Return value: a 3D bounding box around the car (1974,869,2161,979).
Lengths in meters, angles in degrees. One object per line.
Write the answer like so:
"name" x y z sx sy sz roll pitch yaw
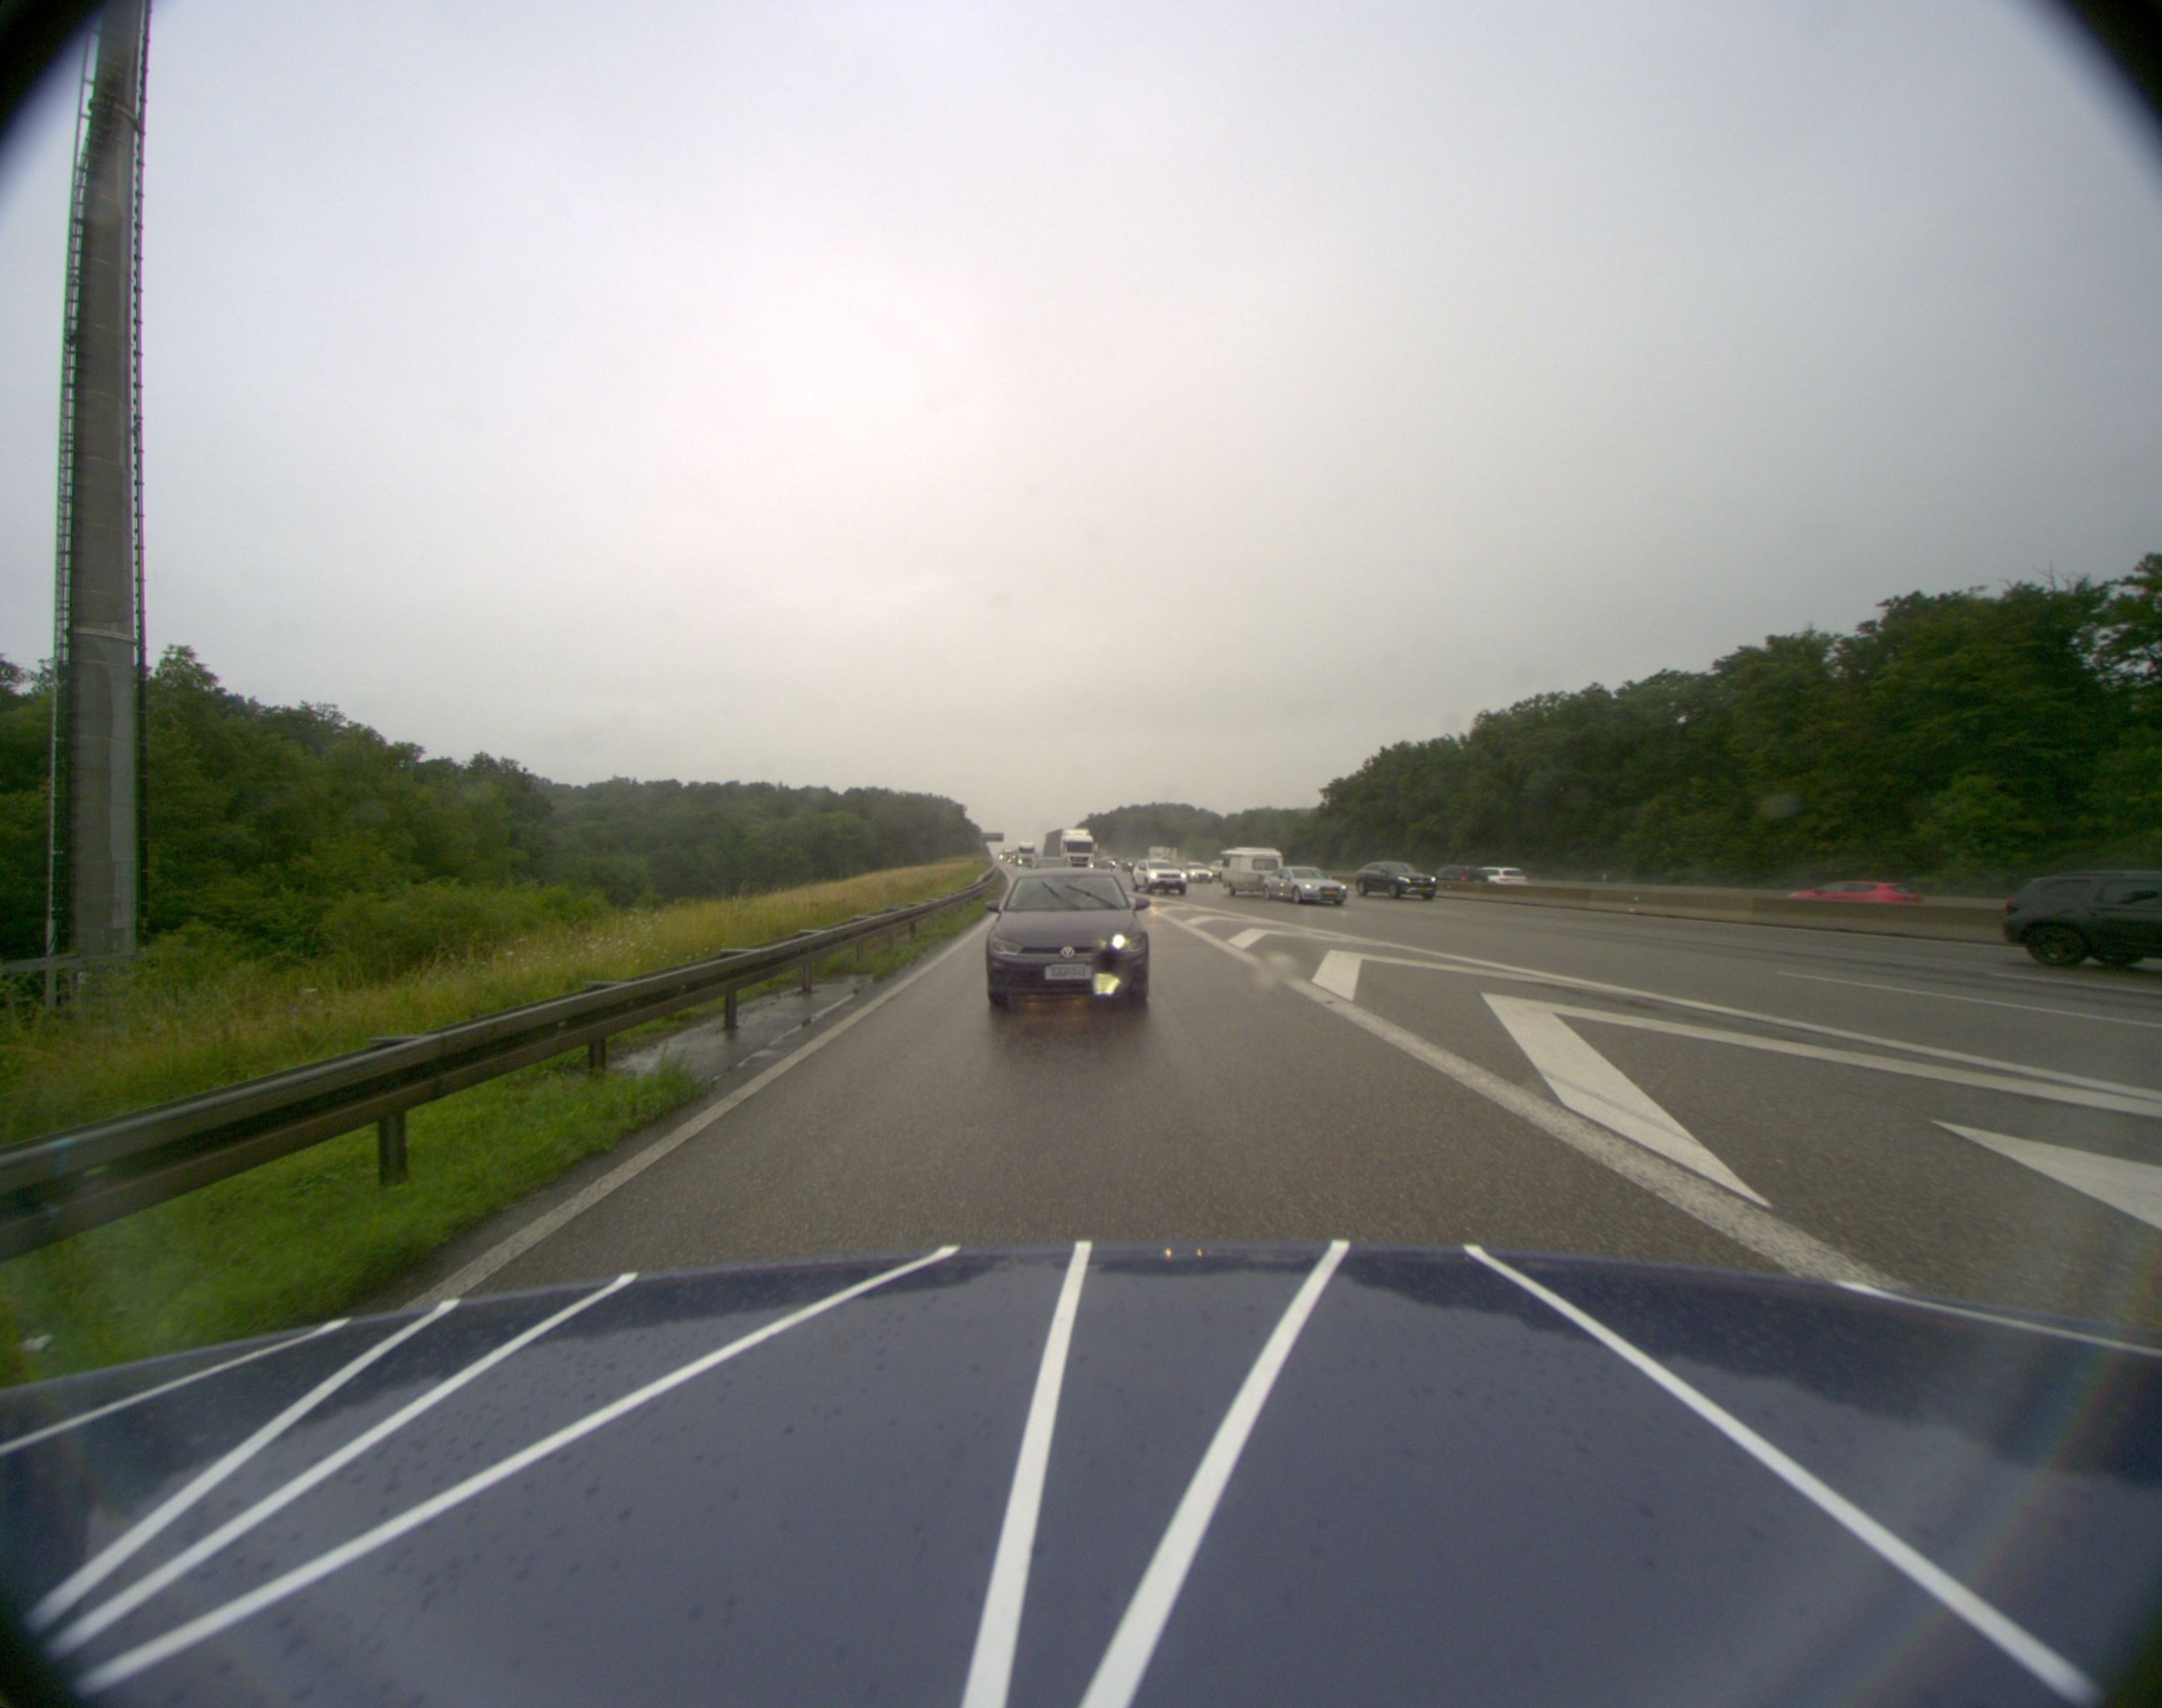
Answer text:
"car" 17.650 1.129 11.827 1.933 1.653 4.454 2 0 -12

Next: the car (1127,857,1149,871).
"car" 7.204 1.260 96.771 1.734 1.781 3.891 2 0 -11

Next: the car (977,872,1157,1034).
"car" -0.145 1.002 9.392 1.670 1.394 4.261 -2 0 0

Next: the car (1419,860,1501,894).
"car" 21.245 1.257 42.785 2.000 1.674 4.207 1 1 -10

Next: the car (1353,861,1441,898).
"car" 15.050 1.160 36.488 1.710 1.566 4.521 2 0 -9

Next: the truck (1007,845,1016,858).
"truck" -22.022 -0.711 241.424 2.597 4.120 5.229 -2 0 -2

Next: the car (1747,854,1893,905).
"car" 30.823 1.000 31.885 2.000 2.002 3.997 0 0 -7

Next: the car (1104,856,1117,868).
"car" 4.525 1.190 116.949 1.599 1.707 3.801 1 0 -6

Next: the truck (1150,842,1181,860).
"truck" 17.688 -0.561 160.507 3.158 3.643 15.200 0 0 -7

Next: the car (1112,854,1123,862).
"car" 9.059 1.099 190.237 2.000 2.002 4.663 0 0 -6

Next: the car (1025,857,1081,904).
"car" -1.005 0.950 28.918 1.810 1.532 4.000 -3 0 1

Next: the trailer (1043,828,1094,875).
"trailer" -1.431 -0.189 71.891 2.905 3.959 14.107 1 0 -9

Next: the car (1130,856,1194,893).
"car" 3.710 0.905 35.574 1.792 1.576 4.320 2 -1 -9

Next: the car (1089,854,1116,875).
"car" 2.071 0.983 73.558 2.000 2.002 3.997 1 0 -7

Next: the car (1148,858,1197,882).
"car" 6.175 1.046 51.817 1.887 1.472 4.497 1 0 -12

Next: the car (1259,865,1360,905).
"car" 8.681 1.135 29.350 1.852 1.340 4.577 2 -1 -10

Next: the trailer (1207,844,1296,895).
"trailer" 7.769 0.673 35.287 2.136 2.143 5.175 2 -1 -10

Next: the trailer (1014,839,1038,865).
"trailer" -9.458 -0.279 129.511 2.771 4.002 11.033 2 -1 -10

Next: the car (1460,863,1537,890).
"car" 24.929 1.317 45.546 1.794 1.518 4.331 0 0 -8

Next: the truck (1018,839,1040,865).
"truck" -8.452 -0.329 123.549 2.759 3.984 6.502 2 -1 -10

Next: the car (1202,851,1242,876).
"car" 11.699 0.794 63.322 1.942 2.002 3.996 -1 0 -10

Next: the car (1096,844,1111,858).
"car" 7.365 -0.903 252.286 3.657 4.633 7.564 0 0 -7

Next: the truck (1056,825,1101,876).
"truck" -0.273 -0.250 64.315 2.882 4.028 5.929 1 0 -9

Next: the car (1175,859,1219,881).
"car" 8.501 1.139 56.157 1.886 1.472 4.498 1 0 -9
